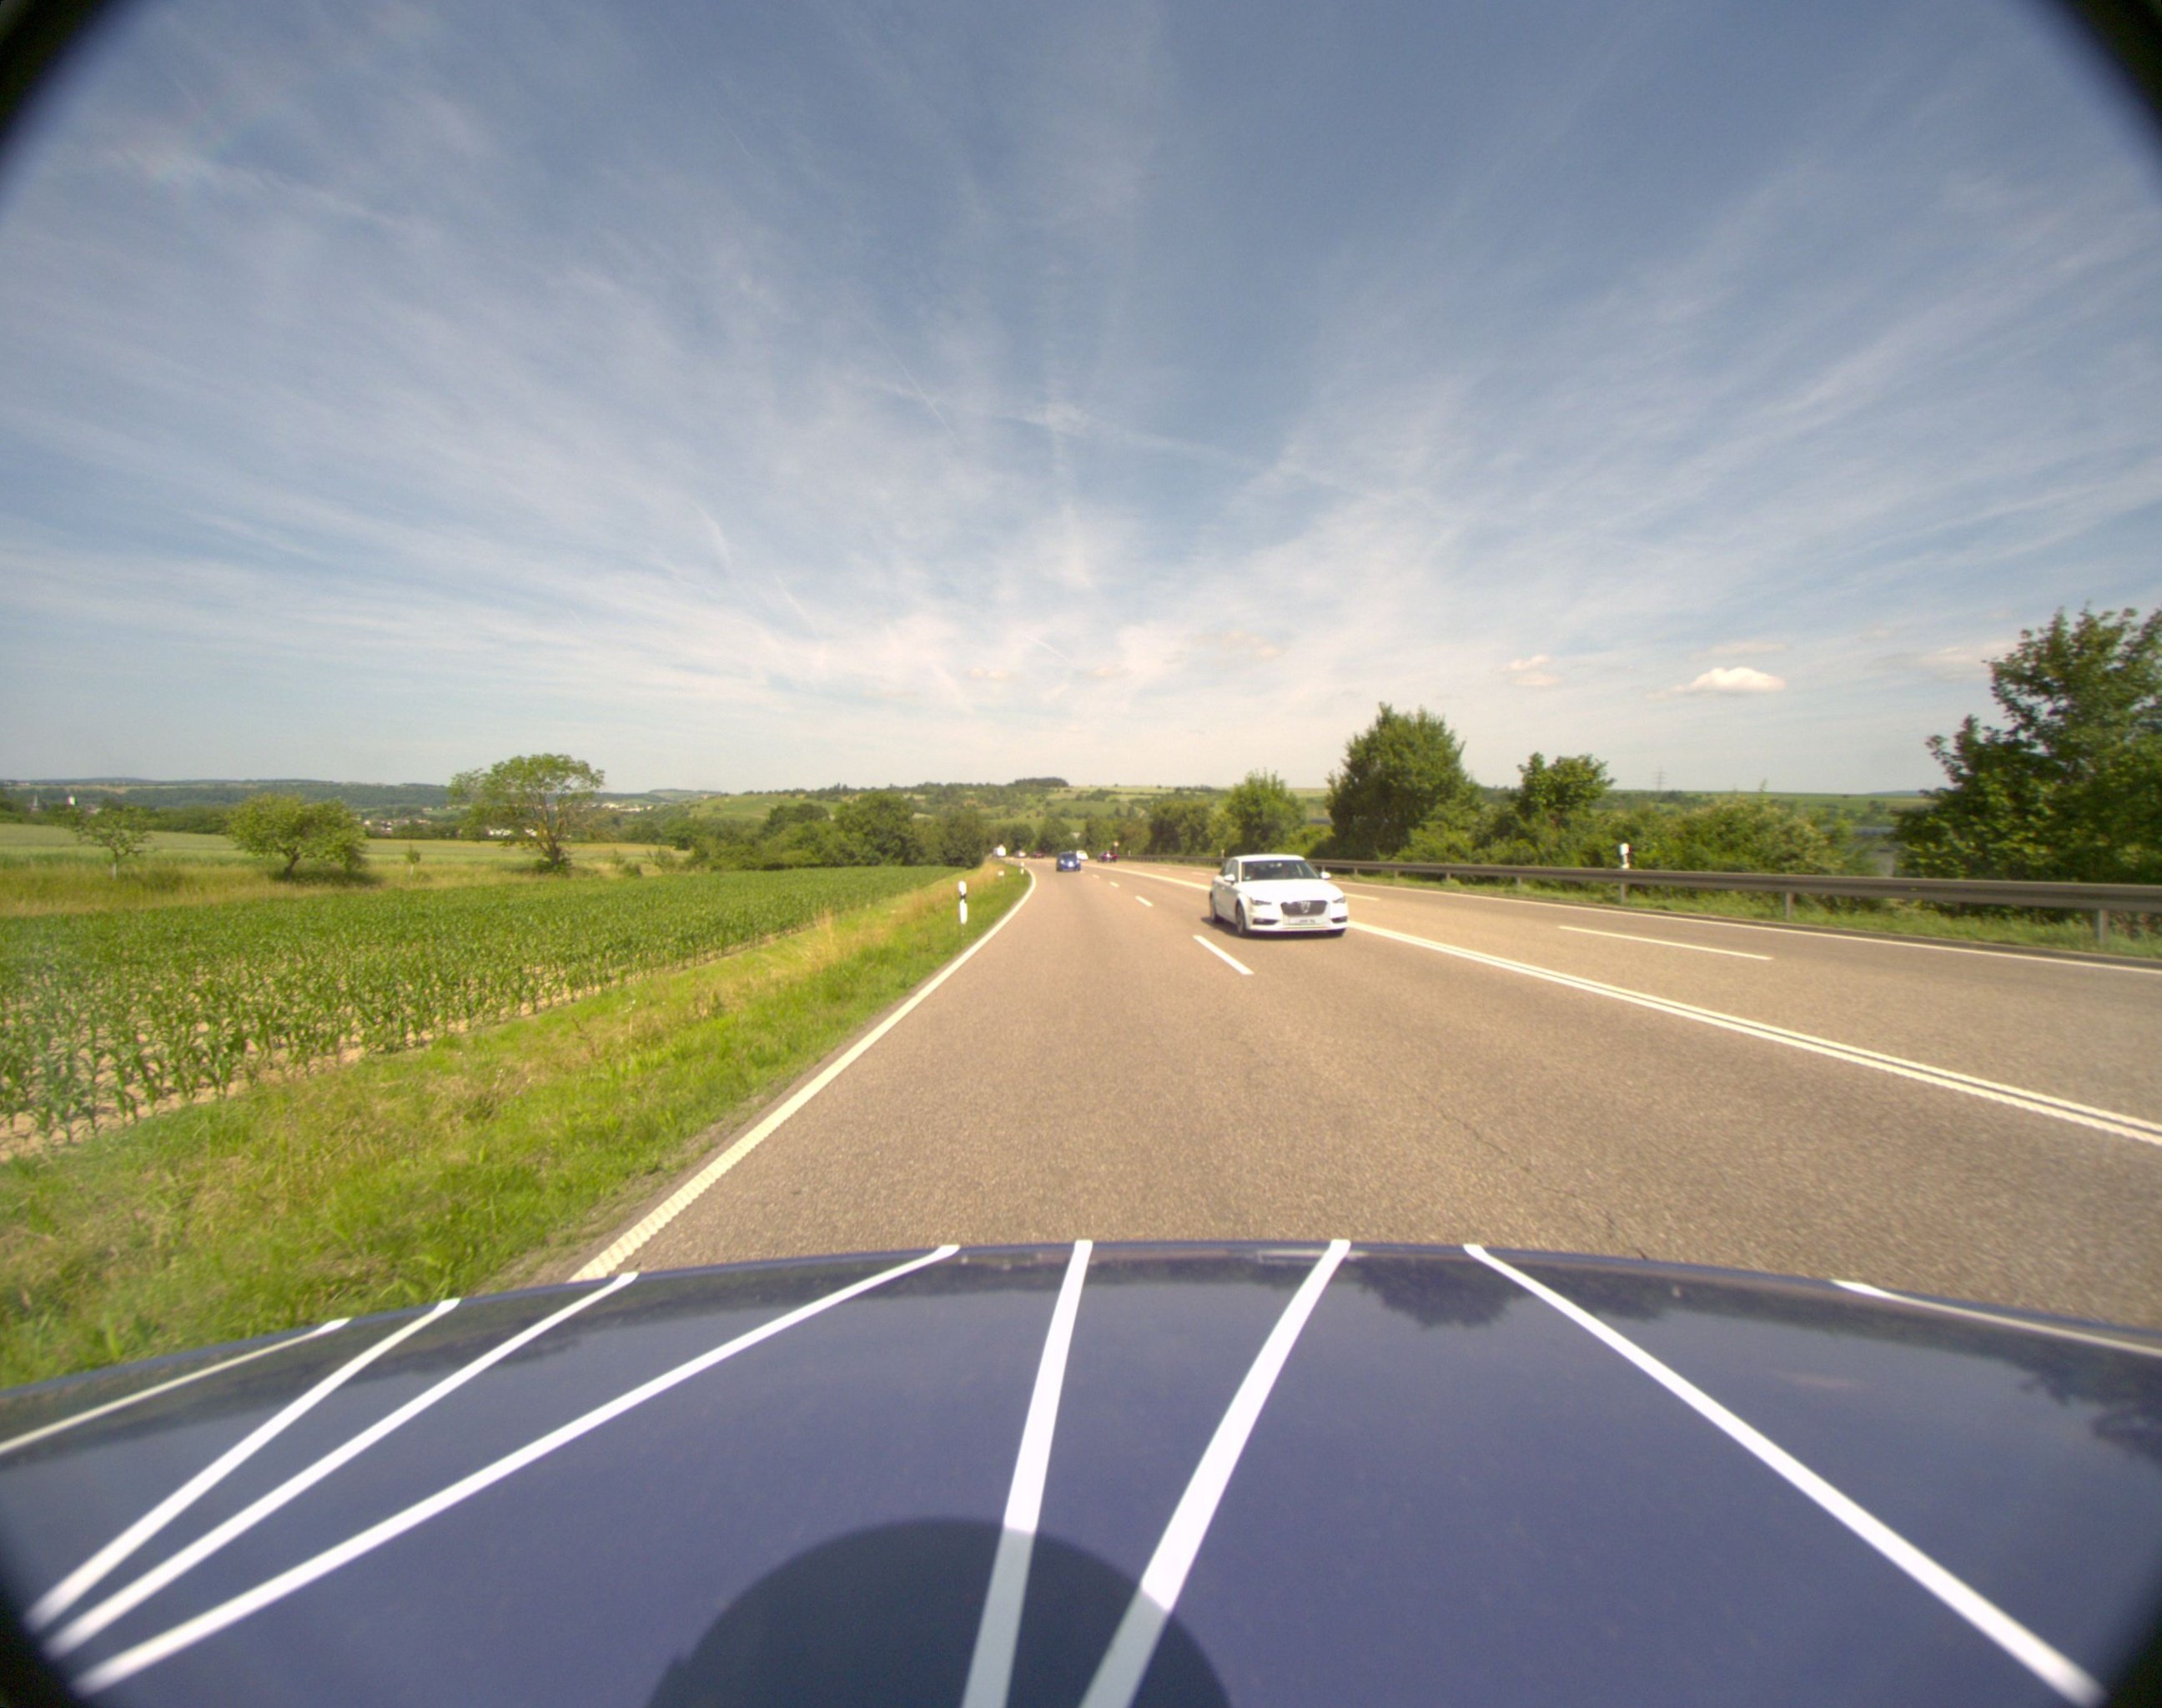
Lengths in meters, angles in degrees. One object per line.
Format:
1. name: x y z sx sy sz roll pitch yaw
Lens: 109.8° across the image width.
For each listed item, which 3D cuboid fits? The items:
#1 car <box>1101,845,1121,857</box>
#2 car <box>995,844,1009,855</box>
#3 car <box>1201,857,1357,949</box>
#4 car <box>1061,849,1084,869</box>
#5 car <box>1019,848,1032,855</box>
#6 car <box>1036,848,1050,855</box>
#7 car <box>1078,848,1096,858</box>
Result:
1. car: 3.889 -0.403 98.842 1.842 1.447 4.322 -1 1 -8
2. car: -19.610 -1.092 187.556 2.097 2.380 5.835 -1 -1 -19
3. car: 3.520 0.789 14.423 1.707 1.368 4.602 -2 0 0
4. car: -0.703 0.364 61.936 1.636 1.522 3.913 -3 1 -3
5. car: -12.119 -0.514 165.255 1.820 1.559 4.677 -1 1 -16
6. car: -7.413 -0.496 148.291 1.724 1.453 4.209 -2 1 -15
7. car: 0.845 -0.099 113.786 1.664 1.449 3.728 -1 1 -15
